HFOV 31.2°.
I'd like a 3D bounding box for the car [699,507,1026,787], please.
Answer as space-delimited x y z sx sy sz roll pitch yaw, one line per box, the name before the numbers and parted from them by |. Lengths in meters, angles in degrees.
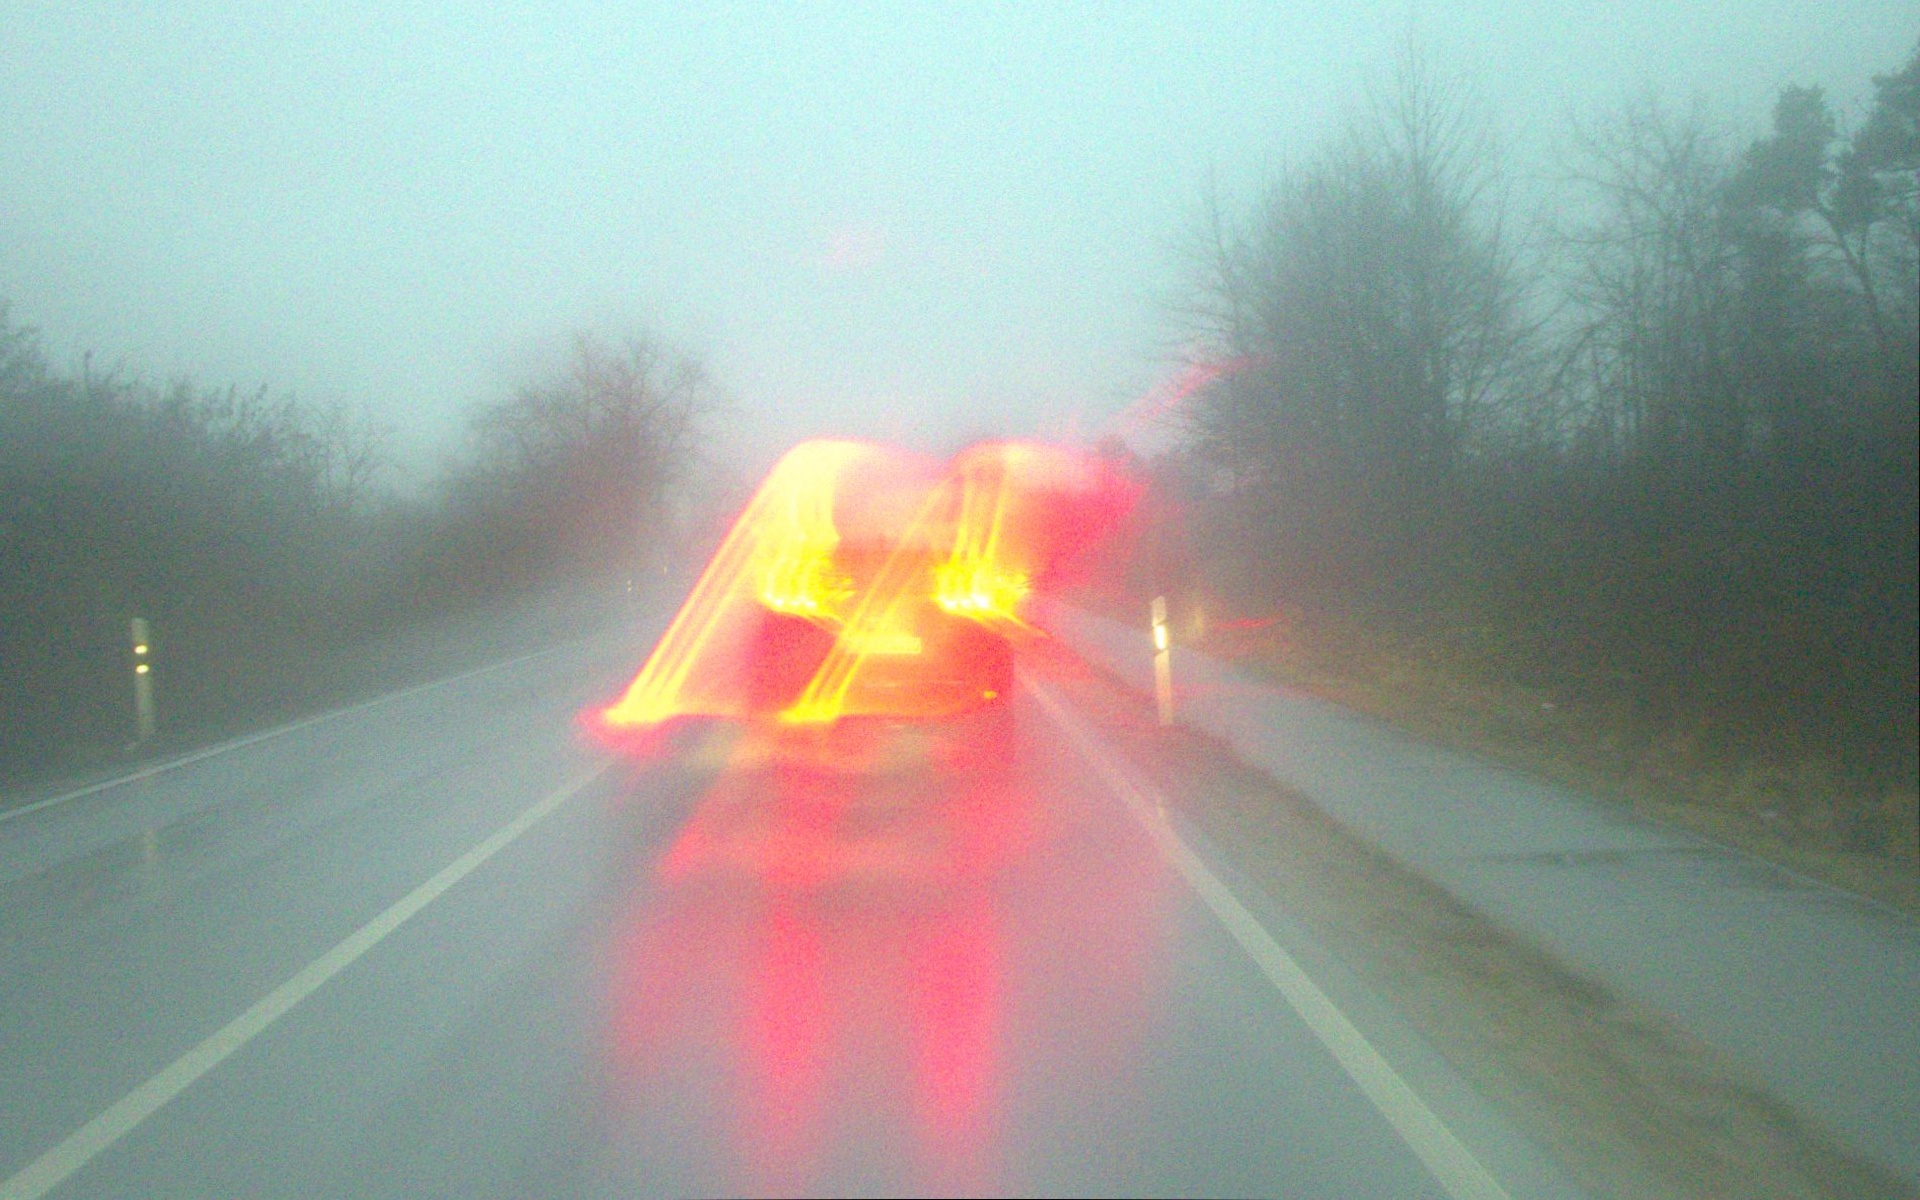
car | -0.668 0.262 24.840 2.120 1.813 4.980 0 1 -1
